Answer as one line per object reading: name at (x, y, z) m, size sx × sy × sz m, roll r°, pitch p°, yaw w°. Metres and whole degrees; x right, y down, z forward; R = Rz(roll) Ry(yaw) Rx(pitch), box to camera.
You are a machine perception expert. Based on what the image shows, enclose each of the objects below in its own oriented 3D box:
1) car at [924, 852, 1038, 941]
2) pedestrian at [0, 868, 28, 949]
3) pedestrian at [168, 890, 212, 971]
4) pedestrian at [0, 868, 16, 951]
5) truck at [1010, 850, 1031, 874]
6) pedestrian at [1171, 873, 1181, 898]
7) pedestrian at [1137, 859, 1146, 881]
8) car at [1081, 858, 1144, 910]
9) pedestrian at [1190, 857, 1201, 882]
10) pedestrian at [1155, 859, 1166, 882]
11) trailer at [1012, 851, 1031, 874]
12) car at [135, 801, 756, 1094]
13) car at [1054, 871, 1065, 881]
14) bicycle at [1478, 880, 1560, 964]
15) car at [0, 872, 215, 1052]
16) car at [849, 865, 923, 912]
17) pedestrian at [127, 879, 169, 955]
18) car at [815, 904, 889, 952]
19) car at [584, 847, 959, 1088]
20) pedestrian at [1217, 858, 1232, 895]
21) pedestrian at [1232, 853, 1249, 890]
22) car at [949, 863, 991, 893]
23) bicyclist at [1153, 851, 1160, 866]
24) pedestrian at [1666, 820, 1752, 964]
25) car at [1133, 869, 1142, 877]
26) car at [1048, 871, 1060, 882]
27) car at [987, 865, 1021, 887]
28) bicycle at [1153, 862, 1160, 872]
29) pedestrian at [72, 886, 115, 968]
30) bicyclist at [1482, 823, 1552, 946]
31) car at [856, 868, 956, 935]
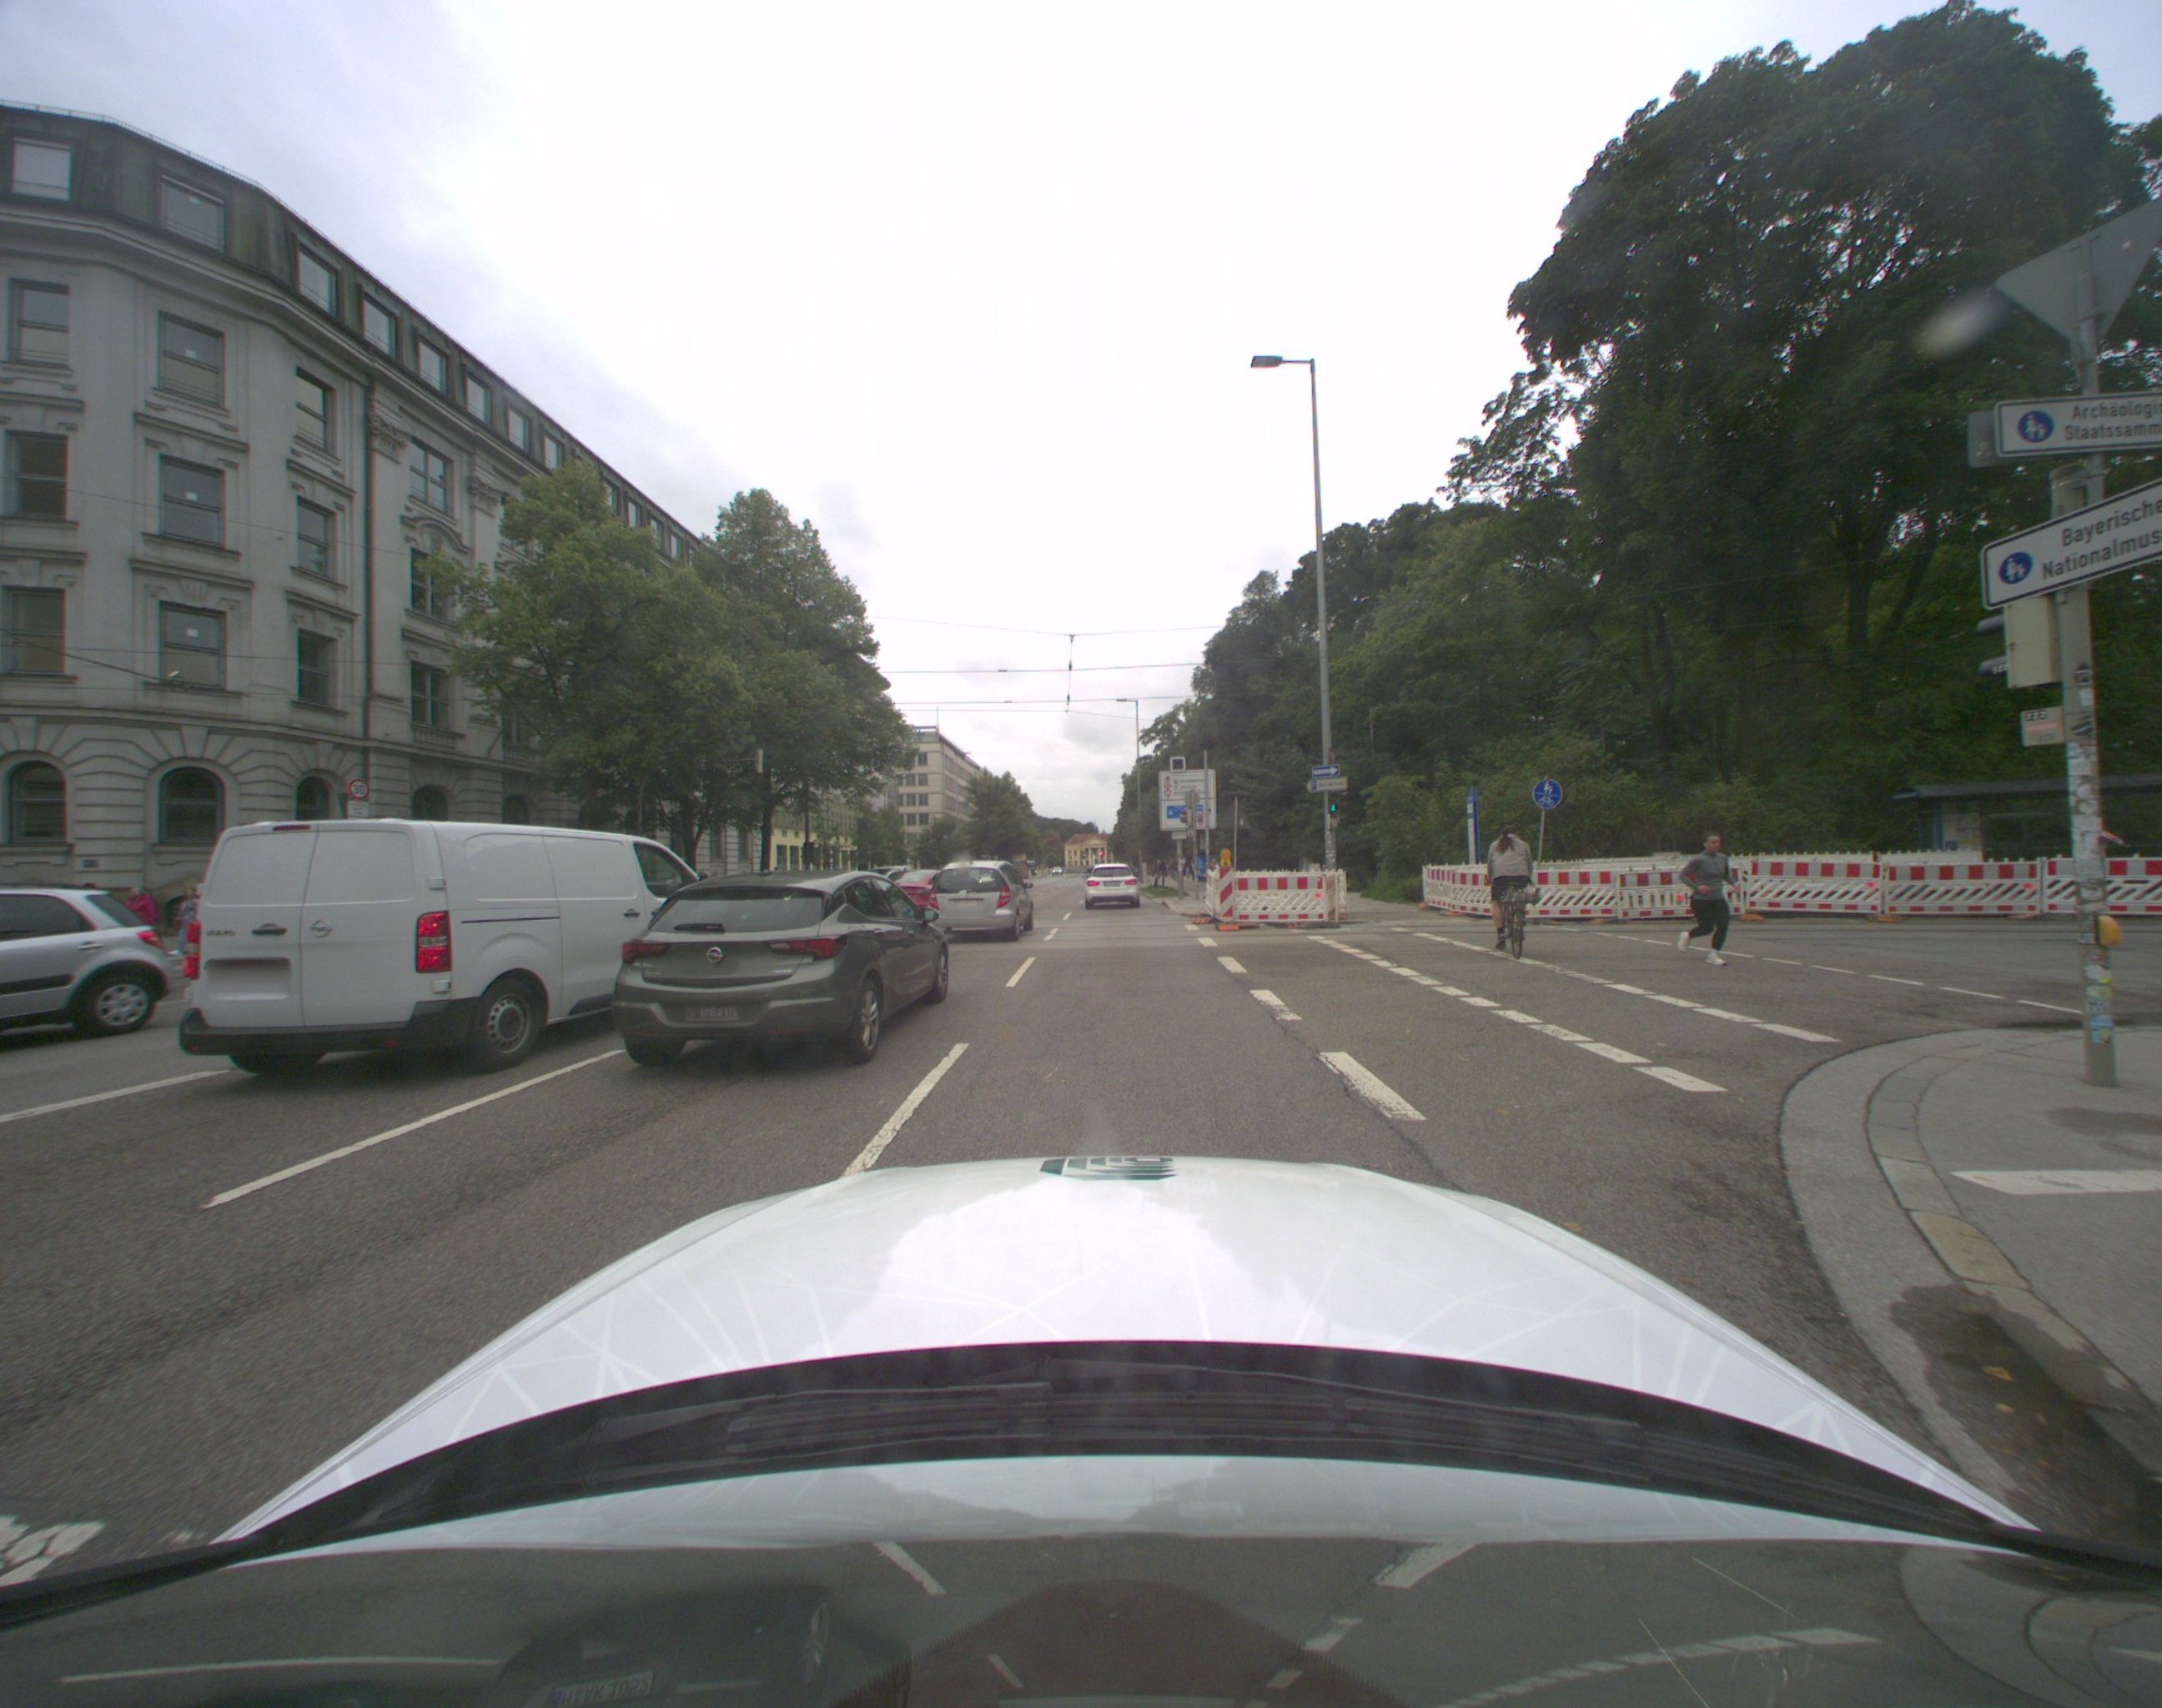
car at (-1.965, 0.834, 17.119) m, size 1.773 × 1.654 × 4.001 m, roll 0°, pitch -1°, yaw 1°
pedestrian at (-27.236, 1.367, 20.496) m, size 0.579 × 2.014 × 0.662 m, roll 1°, pitch -2°, yaw -19°
pedestrian at (-21.031, 1.790, 19.230) m, size 0.497 × 1.855 × 0.530 m, roll -2°, pitch -2°, yaw 20°
pedestrian at (-26.827, 1.353, 19.830) m, size 0.780 × 2.014 × 0.662 m, roll 1°, pitch -2°, yaw -19°
truck at (-9.664, 1.316, 130.920) m, size 2.908 × 3.775 × 7.658 m, roll 0°, pitch -1°, yaw -2°
pedestrian at (7.434, 2.427, 63.478) m, size 0.705 × 1.915 × 0.957 m, roll 0°, pitch -2°, yaw 2°
pedestrian at (4.908, 1.300, 66.412) m, size 0.705 × 1.809 × 0.639 m, roll 0°, pitch -2°, yaw 1°
car at (1.000, 0.984, 27.553) m, size 1.775 × 1.645 × 3.995 m, roll 0°, pitch -1°, yaw -3°
pedestrian at (8.861, 1.187, 63.056) m, size 0.705 × 1.915 × 0.957 m, roll 0°, pitch -2°, yaw 2°
pedestrian at (6.690, 1.379, 68.388) m, size 0.795 × 1.881 × 0.547 m, roll -1°, pitch -2°, yaw 38°
trailer at (-10.085, 1.468, 138.667) m, size 2.943 × 3.740 × 11.757 m, roll 0°, pitch -1°, yaw -3°
car at (-5.098, 0.672, 7.747) m, size 1.891 × 1.848 × 4.956 m, roll -1°, pitch -2°, yaw 1°
car at (-4.069, 4.138, 154.060) m, size 1.813 × 1.728 × 3.883 m, roll 0°, pitch -1°, yaw 2°
bicycle at (6.172, 0.910, 11.572) m, size 0.732 × 1.058 × 2.173 m, roll 0°, pitch -1°, yaw 21°
car at (-10.744, 1.007, 7.172) m, size 1.672 × 1.640 × 4.167 m, roll -1°, pitch -1°, yaw 2°
car at (-7.081, 1.234, 29.993) m, size 1.628 × 1.572 × 3.947 m, roll -1°, pitch -1°, yaw 2°
pedestrian at (-21.930, 1.473, 19.145) m, size 0.497 × 1.739 × 0.472 m, roll -2°, pitch -2°, yaw 20°
car at (-8.842, 2.828, 31.804) m, size 1.628 × 1.572 × 3.947 m, roll -1°, pitch -1°, yaw 2°
car at (-2.308, 0.780, 7.288) m, size 1.704 × 1.552 × 4.001 m, roll 0°, pitch -1°, yaw 1°
pedestrian at (7.202, 1.136, 40.822) m, size 0.668 × 1.839 × 0.641 m, roll 0°, pitch -2°, yaw 3°
pedestrian at (7.972, 0.884, 40.766) m, size 0.748 × 1.839 × 0.757 m, roll 0°, pitch -2°, yaw 3°
car at (-6.167, 1.330, 45.633) m, size 1.628 × 1.572 × 3.947 m, roll -1°, pitch -1°, yaw 2°
bicyclist at (8.253, 0.509, 88.975) m, size 0.705 × 1.562 × 0.639 m, roll 0°, pitch -1°, yaw 1°
pedestrian at (8.180, 0.475, 10.652) m, size 0.764 × 1.765 × 1.074 m, roll -1°, pitch -2°, yaw 32°
car at (11.327, 3.796, 163.869) m, size 1.820 × 1.550 × 4.754 m, roll -2°, pitch -2°, yaw 3°
car at (-4.966, 4.139, 150.138) m, size 1.850 × 1.749 × 4.632 m, roll -3°, pitch -1°, yaw 2°
car at (-5.544, 1.587, 59.388) m, size 1.760 × 1.423 × 4.749 m, roll -3°, pitch -1°, yaw 2°
bicycle at (8.234, 1.417, 88.948) m, size 0.672 × 1.030 × 2.013 m, roll 0°, pitch -1°, yaw 2°
pedestrian at (-22.845, 1.682, 18.838) m, size 0.497 × 1.855 × 0.472 m, roll -2°, pitch -2°, yaw 20°
bicyclist at (6.180, 0.418, 11.589) m, size 0.750 × 1.667 × 0.903 m, roll 0°, pitch -2°, yaw 20°
car at (-4.691, 1.237, 22.436) m, size 1.772 × 1.654 × 4.001 m, roll 0°, pitch -1°, yaw 2°
